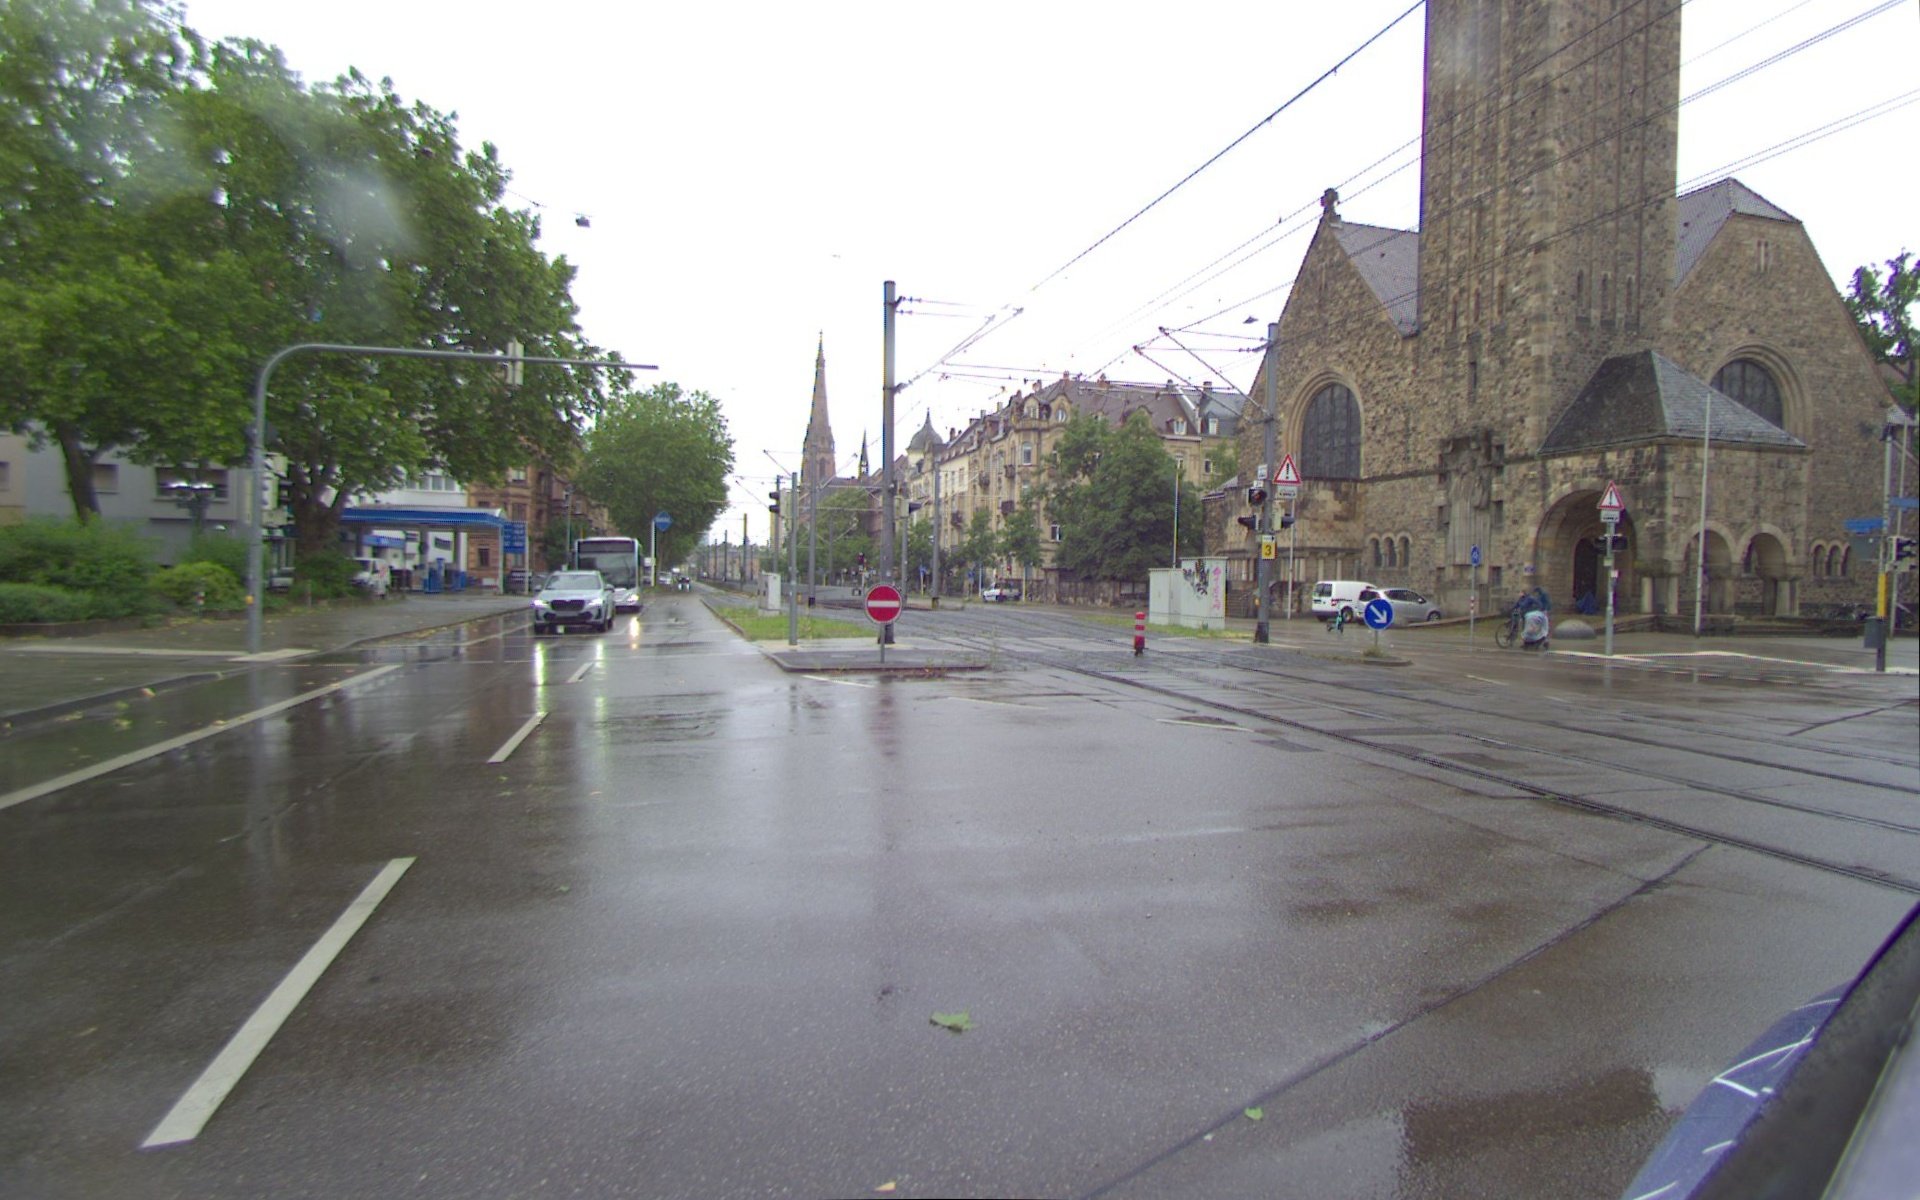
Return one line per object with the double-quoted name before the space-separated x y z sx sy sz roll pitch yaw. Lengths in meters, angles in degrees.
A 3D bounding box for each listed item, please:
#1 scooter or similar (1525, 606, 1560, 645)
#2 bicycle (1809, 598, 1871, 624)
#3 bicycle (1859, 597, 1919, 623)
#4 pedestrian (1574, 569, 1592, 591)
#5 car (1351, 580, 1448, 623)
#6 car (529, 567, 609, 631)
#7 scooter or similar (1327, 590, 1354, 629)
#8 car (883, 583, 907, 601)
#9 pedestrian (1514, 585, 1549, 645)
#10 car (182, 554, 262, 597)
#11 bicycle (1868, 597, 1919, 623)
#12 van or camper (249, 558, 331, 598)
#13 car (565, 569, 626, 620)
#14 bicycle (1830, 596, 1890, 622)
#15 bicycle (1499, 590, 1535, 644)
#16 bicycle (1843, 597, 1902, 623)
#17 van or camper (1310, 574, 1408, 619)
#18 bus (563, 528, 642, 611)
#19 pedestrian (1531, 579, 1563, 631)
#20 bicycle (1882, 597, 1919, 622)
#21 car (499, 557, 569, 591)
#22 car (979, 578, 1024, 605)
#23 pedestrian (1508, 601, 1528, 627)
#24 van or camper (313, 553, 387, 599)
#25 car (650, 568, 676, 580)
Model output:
"scooter or similar" 16.301 0.707 28.326 0.907 1.061 0.514 1 1 -38
"bicycle" 39.412 0.467 45.361 0.564 1.062 2.014 1 2 -23
"bicycle" 42.130 0.431 45.922 0.569 1.073 1.933 1 2 -18
"pedestrian" 25.461 -0.806 41.344 0.447 0.895 0.397 1 1 -17
"car" 18.205 0.045 41.969 3.288 1.593 1.740 -3 2 -14
"car" -10.883 -0.087 28.419 1.754 1.619 4.566 1 1 -17
"scooter or similar" 13.974 0.334 37.215 0.280 1.404 1.106 1 1 -17
"car" -7.003 -0.856 108.337 1.744 1.799 4.009 0 1 -16
"pedestrian" 16.267 0.422 28.815 0.676 1.684 0.604 1 1 -37
"car" -32.736 -1.110 45.023 1.702 1.800 4.271 1 2 -20
"bicycle" 42.881 0.439 46.127 0.663 1.073 2.161 1 2 -18
"van or camper" -29.687 -0.987 44.984 1.958 1.619 4.681 1 1 -20
"car" -12.471 -0.242 34.835 1.741 1.619 4.188 1 1 -17
"bicycle" 40.479 0.390 45.534 0.569 1.073 1.933 1 2 -21
"bicycle" 16.115 0.478 29.271 0.531 1.485 1.912 2 1 40
"bicycle" 41.232 0.425 45.757 0.569 1.073 1.933 1 2 -18
"van or camper" 17.858 -0.186 45.298 3.848 1.749 1.653 -3 2 -16
"bus" -15.759 -1.330 45.332 2.832 3.152 12.130 1 1 -17
"pedestrian" 19.801 0.179 34.133 0.664 1.724 0.635 1 1 -20
"bicycle" 43.762 0.434 46.493 0.593 1.080 1.987 1 2 -18
"car" -27.165 -1.652 64.646 3.915 2.039 2.005 0 1 -17
"car" 2.981 -0.655 74.054 1.938 1.816 4.009 0 2 -19
"pedestrian" 20.045 0.500 36.347 0.388 0.895 0.457 1 1 -20
"van or camper" -27.477 -1.093 45.749 1.958 1.938 4.681 1 1 -20
"car" -44.264 -3.842 150.743 3.740 1.644 1.780 1 1 -16
